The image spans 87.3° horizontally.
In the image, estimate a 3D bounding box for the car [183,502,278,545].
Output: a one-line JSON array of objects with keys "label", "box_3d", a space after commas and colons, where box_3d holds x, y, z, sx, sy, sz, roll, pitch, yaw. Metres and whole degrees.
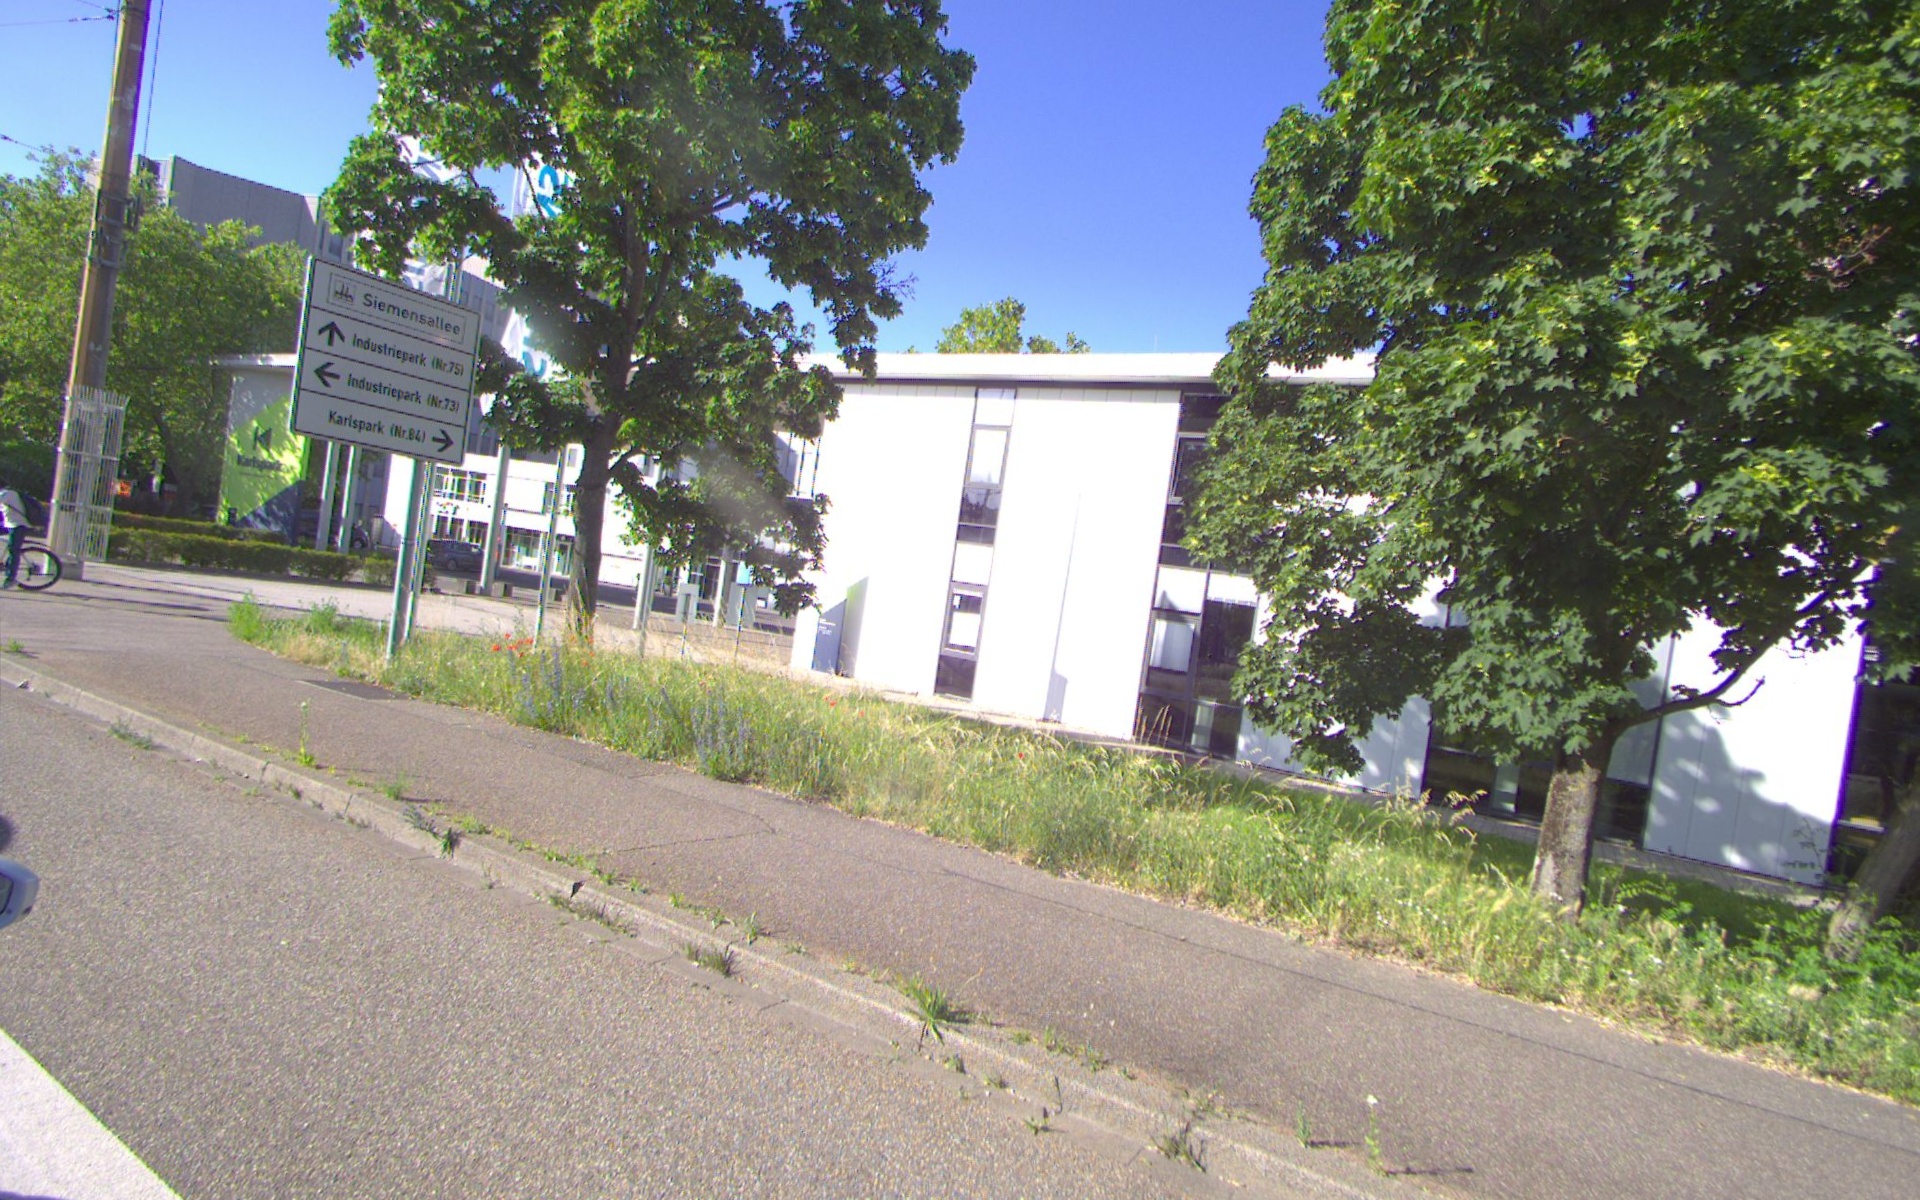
[{"label": "car", "box_3d": [-42.733, -4.455, 59.041, 1.963, 1.778, 4.002, 7, -1, 19]}]

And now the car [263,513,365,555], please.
[{"label": "car", "box_3d": [-36.209, -3.656, 56.556, 1.841, 1.649, 4.553, 7, -1, 19]}]

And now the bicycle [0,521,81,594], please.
[{"label": "bicycle", "box_3d": [-14.689, -0.689, 15.278, 0.754, 1.010, 1.916, 7, 1, 42]}]

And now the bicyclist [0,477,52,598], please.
[{"label": "bicyclist", "box_3d": [-14.585, -0.975, 15.357, 0.754, 1.767, 0.908, 7, 1, 42]}]

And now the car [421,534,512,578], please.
[{"label": "car", "box_3d": [-26.283, -2.305, 53.711, 1.865, 1.741, 4.001, 8, -1, 22]}]
